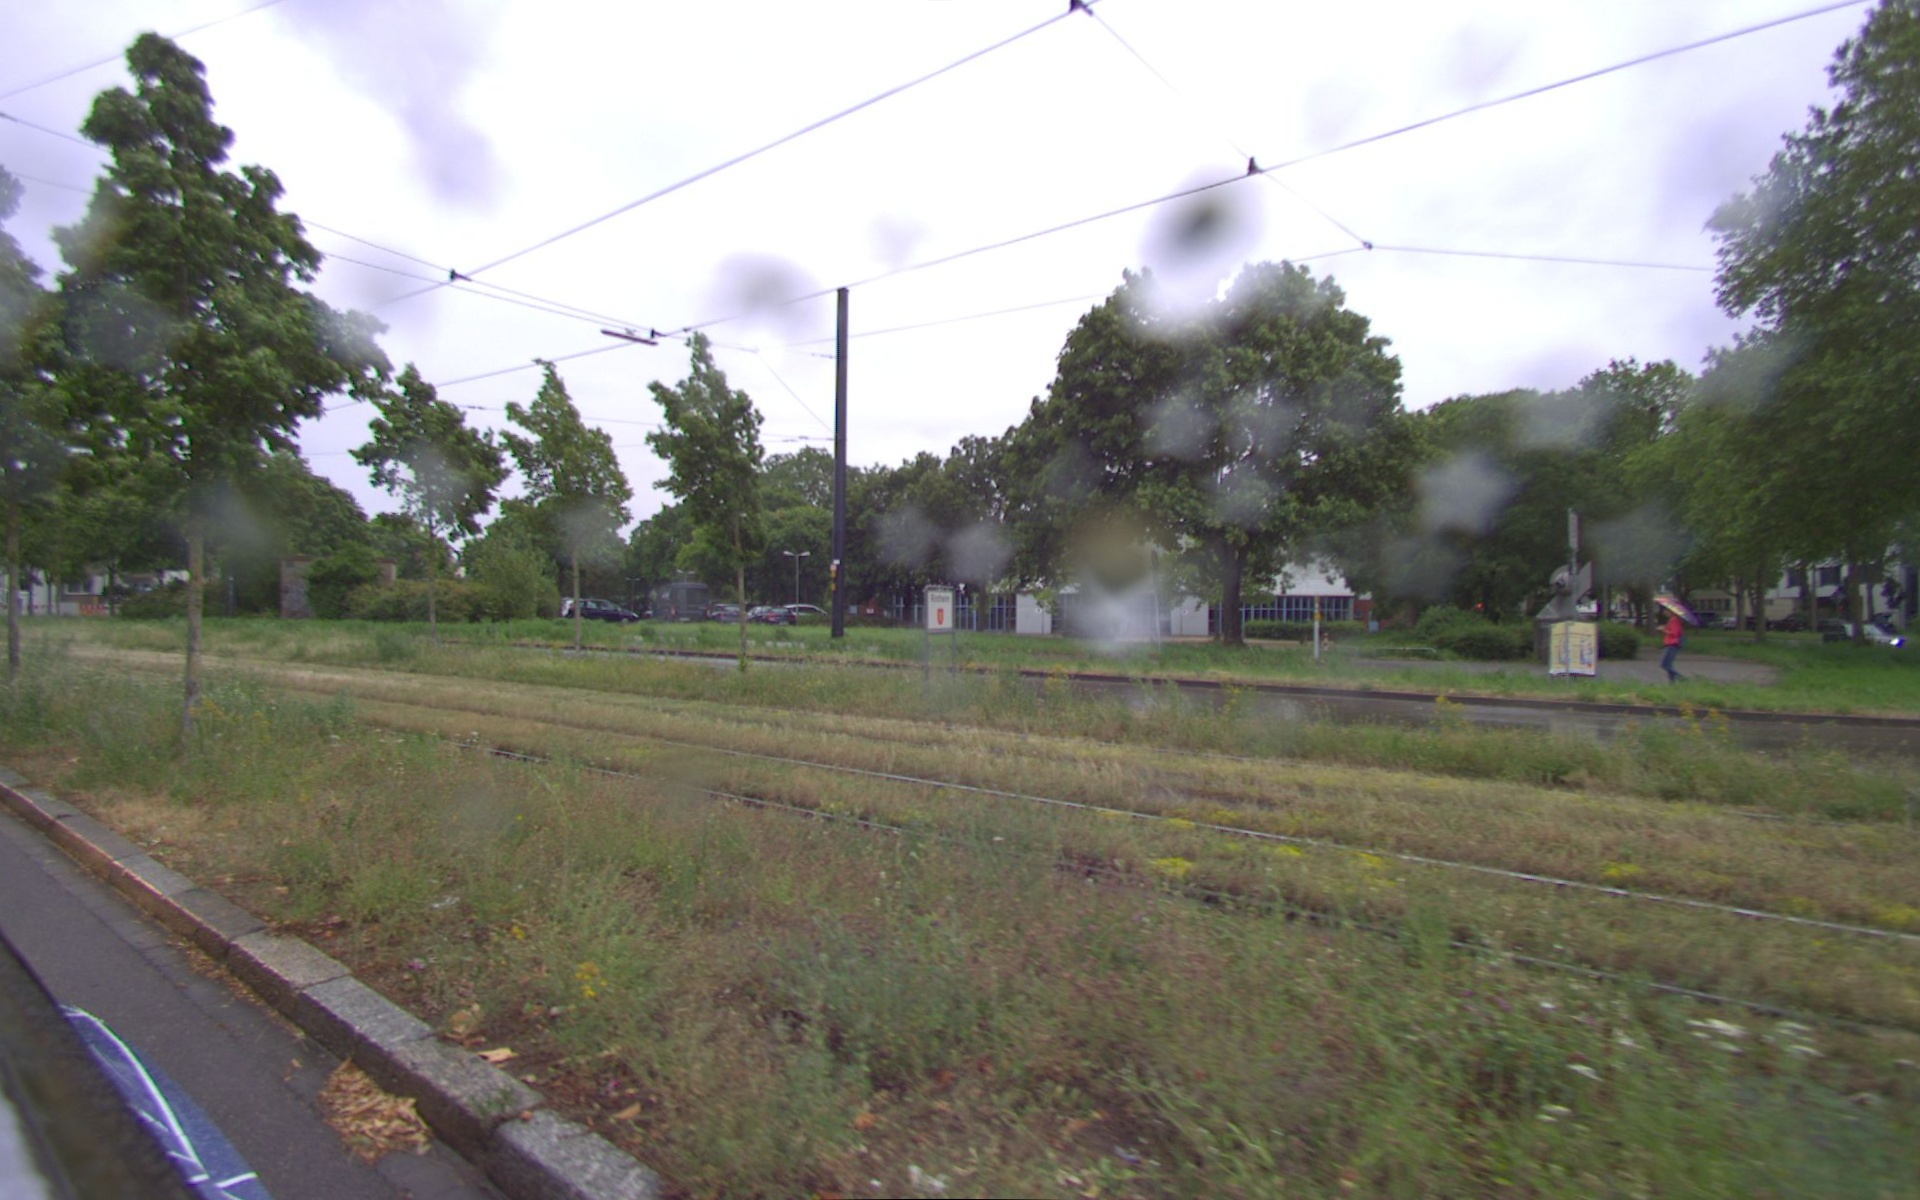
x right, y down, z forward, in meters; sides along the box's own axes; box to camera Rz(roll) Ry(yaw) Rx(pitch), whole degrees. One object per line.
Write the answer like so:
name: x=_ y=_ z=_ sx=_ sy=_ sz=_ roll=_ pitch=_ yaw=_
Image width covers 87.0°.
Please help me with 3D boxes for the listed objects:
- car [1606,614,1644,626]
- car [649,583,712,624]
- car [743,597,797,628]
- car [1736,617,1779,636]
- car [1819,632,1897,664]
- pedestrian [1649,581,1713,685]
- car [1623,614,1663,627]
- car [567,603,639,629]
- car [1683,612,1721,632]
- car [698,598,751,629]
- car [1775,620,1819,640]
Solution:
car: x=89.267 y=2.667 z=135.892 sx=3.829 sy=1.504 sz=1.886 roll=0 pitch=0 yaw=4
car: x=-14.702 y=0.172 z=53.040 sx=2.273 sy=2.029 sz=5.134 roll=-1 pitch=1 yaw=-26
car: x=-10.526 y=0.650 z=55.795 sx=2.026 sy=1.584 sz=5.032 roll=-1 pitch=1 yaw=-22
car: x=81.149 y=2.702 z=103.019 sx=1.982 sy=1.796 sz=3.980 roll=0 pitch=0 yaw=15
car: x=43.602 y=2.324 z=49.249 sx=1.796 sy=1.417 sz=4.417 roll=0 pitch=-2 yaw=28
pedestrian: x=14.294 y=0.624 z=20.067 sx=1.006 sy=2.005 sz=0.942 roll=0 pitch=0 yaw=36
car: x=89.153 y=2.624 z=132.074 sx=3.836 sy=1.663 sz=1.883 roll=0 pitch=0 yaw=9
car: x=-22.226 y=0.975 z=62.998 sx=4.110 sy=1.494 sz=1.789 roll=-1 pitch=0 yaw=-23
car: x=83.869 y=2.435 z=114.452 sx=2.107 sy=2.104 sz=3.983 roll=0 pitch=0 yaw=13
car: x=-12.803 y=0.699 z=54.834 sx=1.726 sy=1.542 sz=4.865 roll=-1 pitch=1 yaw=-26
car: x=79.375 y=2.836 z=96.061 sx=1.985 sy=1.796 sz=3.973 roll=0 pitch=1 yaw=20
